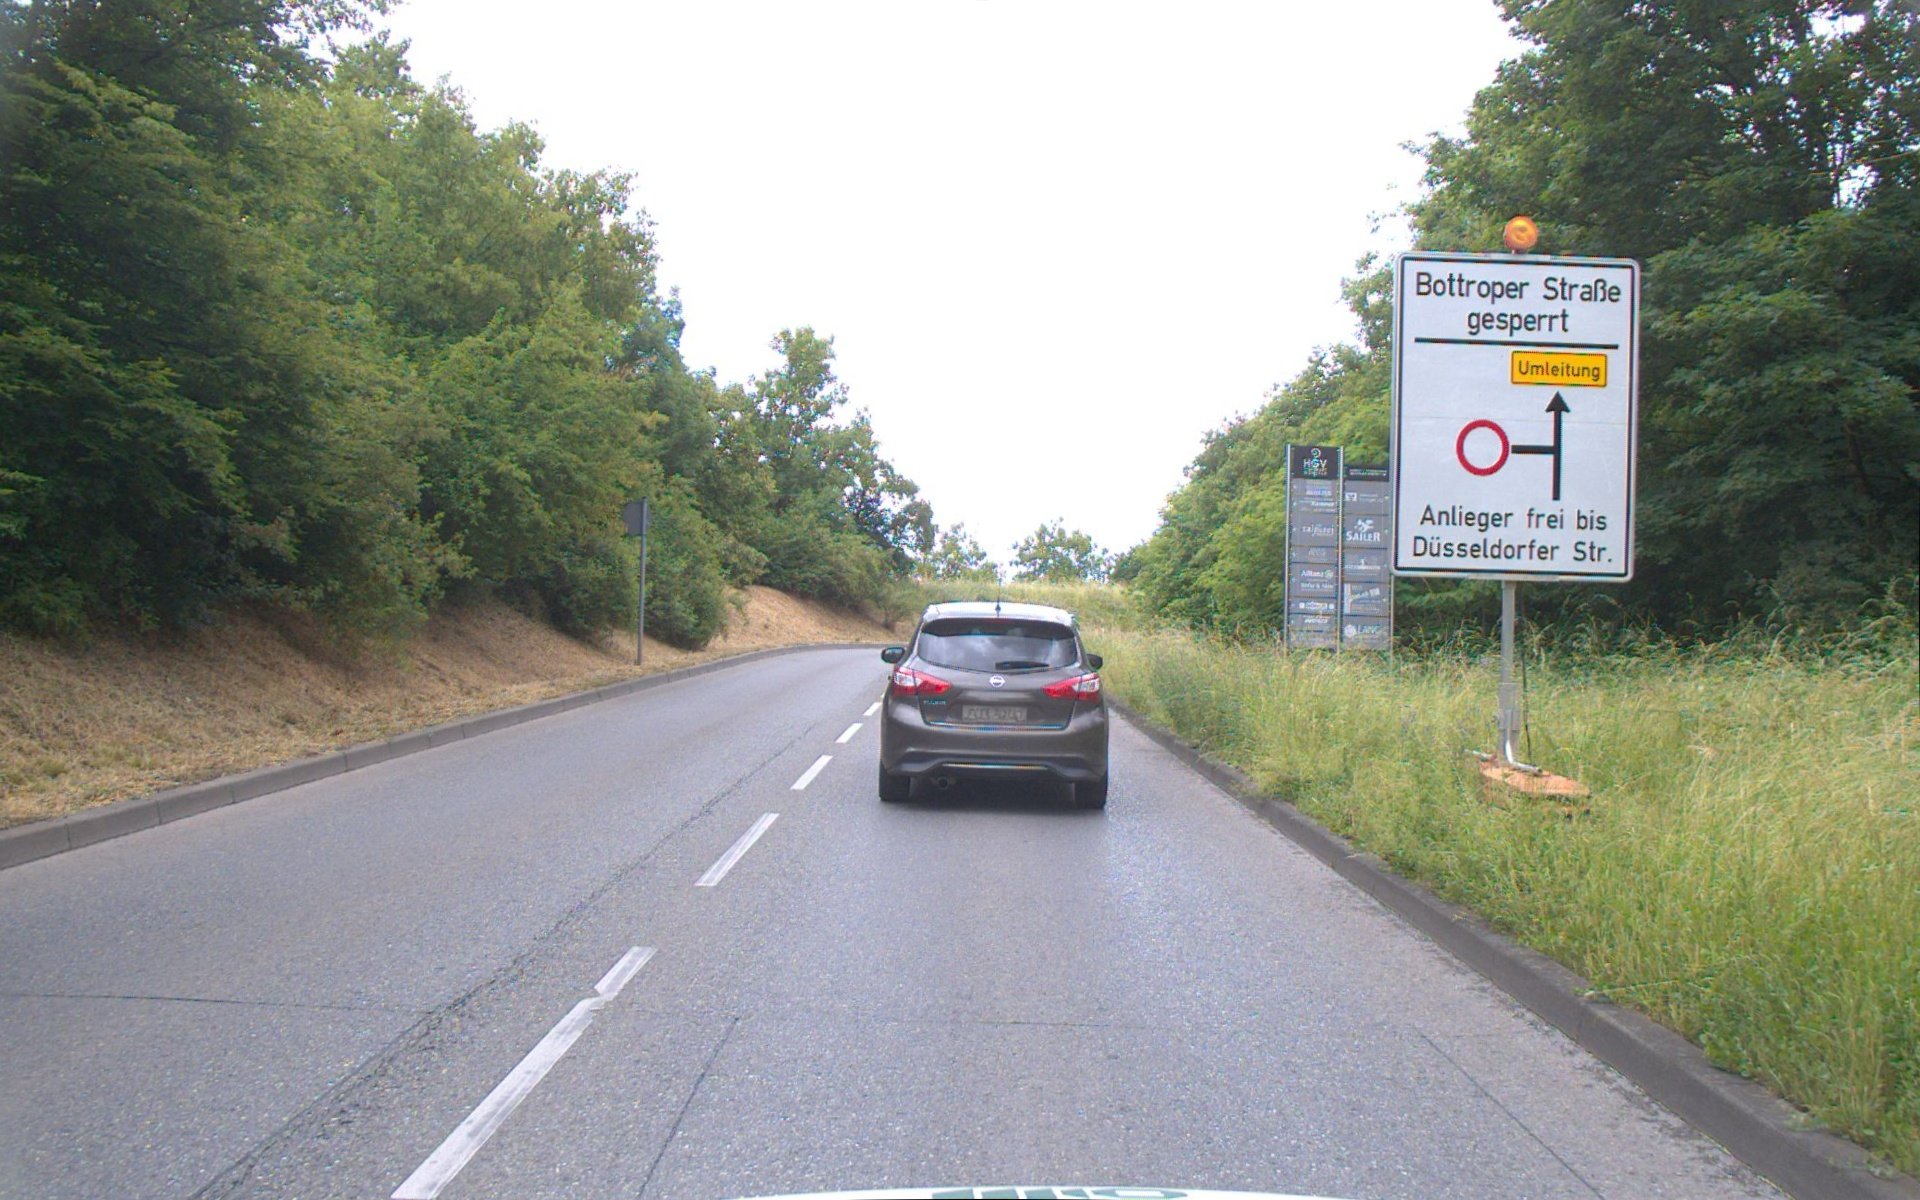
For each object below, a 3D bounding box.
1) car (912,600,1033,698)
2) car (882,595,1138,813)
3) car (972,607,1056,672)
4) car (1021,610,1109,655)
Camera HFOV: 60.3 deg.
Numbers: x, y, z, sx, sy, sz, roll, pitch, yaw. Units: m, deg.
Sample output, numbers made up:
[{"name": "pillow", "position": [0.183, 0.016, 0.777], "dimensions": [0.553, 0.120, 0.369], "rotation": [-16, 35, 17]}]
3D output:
[{"name": "car", "position": [0.139, 0.767, 27.960], "dimensions": [1.808, 1.519, 4.225], "rotation": [0, 0, -3]}, {"name": "car", "position": [0.286, 0.754, 13.828], "dimensions": [1.807, 1.519, 3.998], "rotation": [1, 0, -2]}, {"name": "car", "position": [1.374, 0.936, 40.836], "dimensions": [1.684, 1.521, 3.579], "rotation": [1, 0, 8]}, {"name": "car", "position": [3.537, 1.068, 55.174], "dimensions": [1.761, 1.422, 4.000], "rotation": [1, 0, 22]}]
